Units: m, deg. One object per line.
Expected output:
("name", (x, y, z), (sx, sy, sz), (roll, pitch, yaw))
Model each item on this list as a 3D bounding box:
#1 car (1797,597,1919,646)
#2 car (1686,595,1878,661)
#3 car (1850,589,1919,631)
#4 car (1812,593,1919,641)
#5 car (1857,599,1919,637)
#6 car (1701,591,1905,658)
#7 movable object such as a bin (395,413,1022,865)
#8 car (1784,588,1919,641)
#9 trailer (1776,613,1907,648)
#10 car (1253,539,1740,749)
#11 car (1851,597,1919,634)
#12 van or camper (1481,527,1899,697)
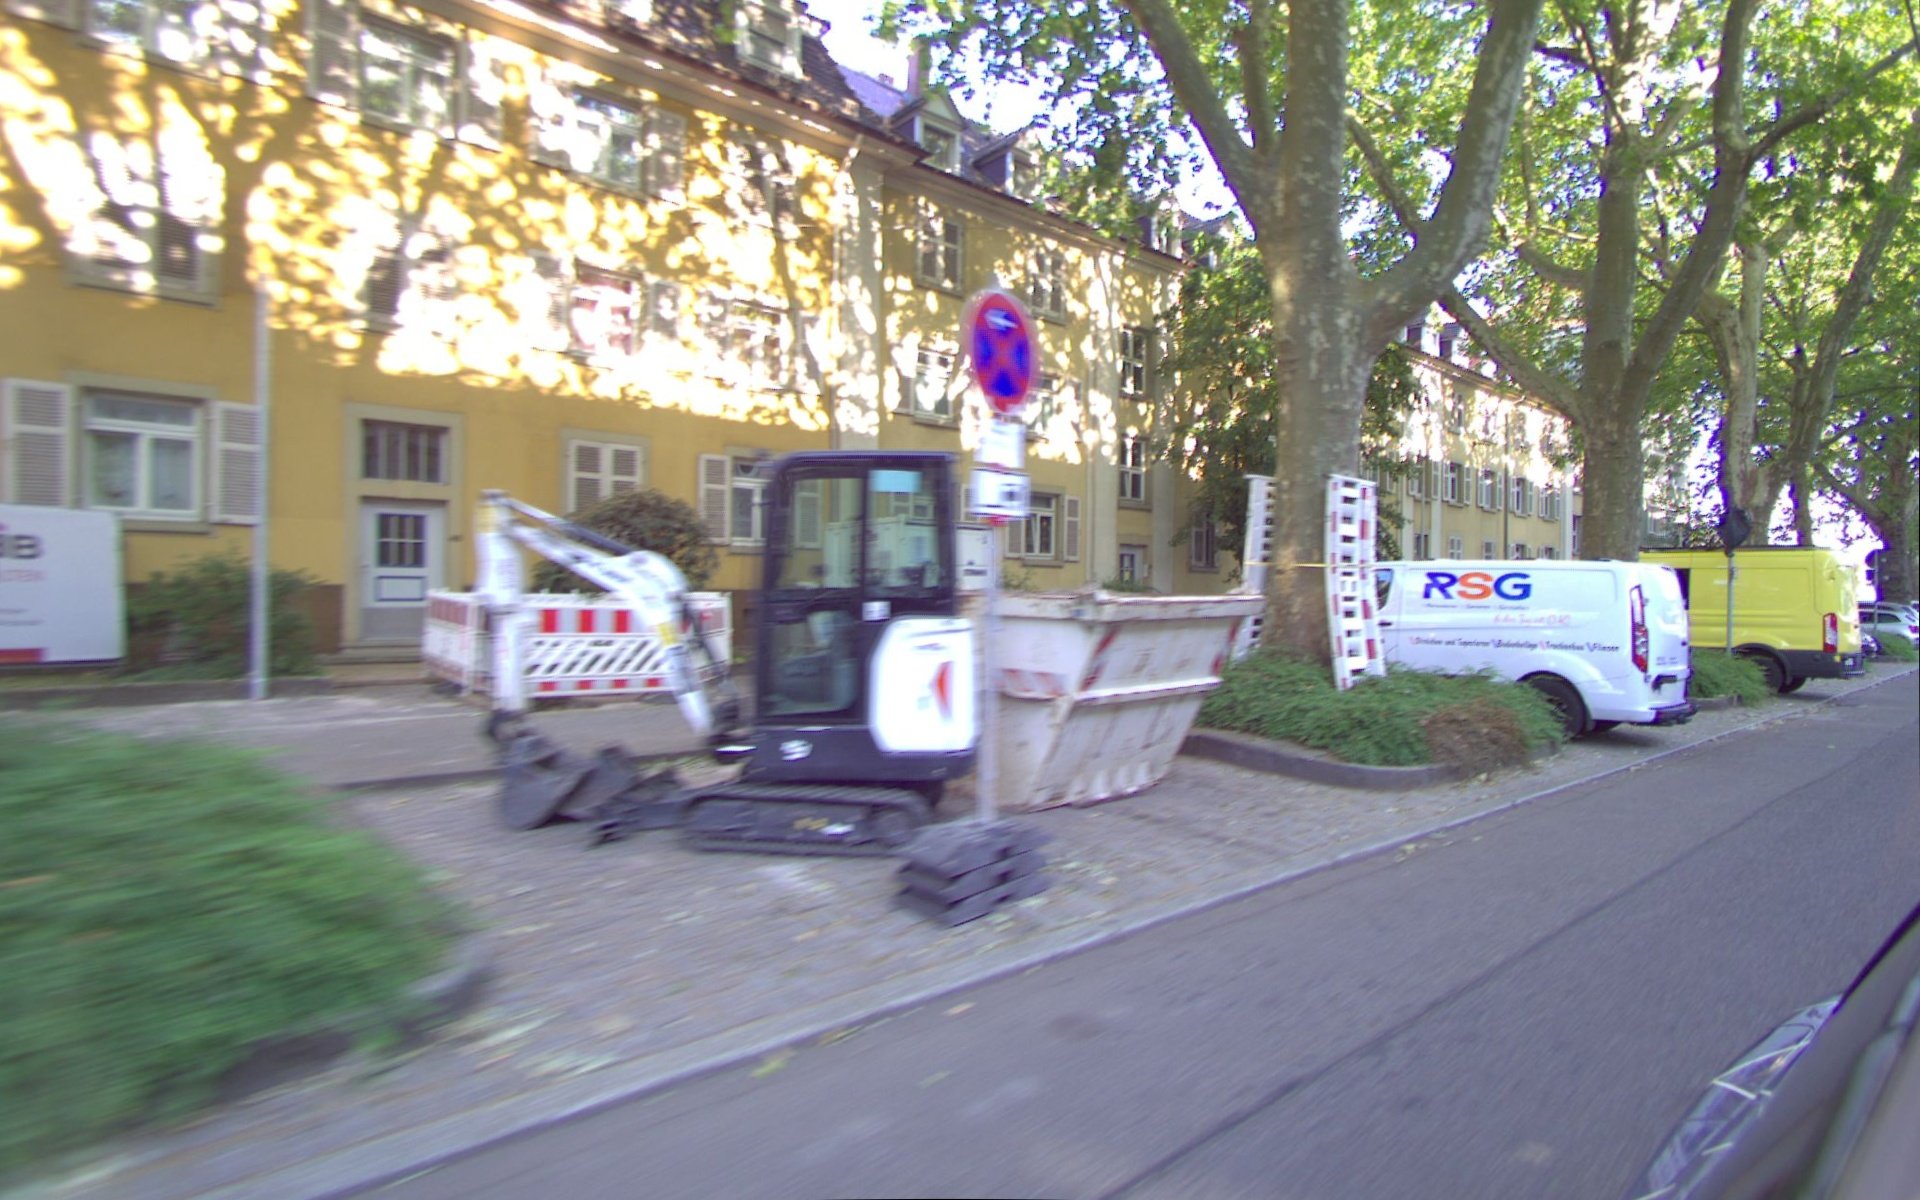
("car", (31.733, 0.732, 35.238), (1.832, 1.441, 3.661), (1, 3, -39))
("car", (21.157, 0.664, 26.130), (1.708, 1.444, 3.656), (0, 2, -44))
("car", (46.187, 0.524, 48.451), (1.881, 1.878, 5.123), (-1, 3, -41))
("car", (35.748, 0.642, 38.849), (1.875, 1.678, 4.432), (0, 2, -42))
("car", (40.732, 0.772, 42.934), (1.712, 1.516, 3.885), (0, 2, -43))
("car", (23.117, 0.606, 27.874), (1.798, 1.569, 4.084), (0, 2, -41))
("movable object such as a bin", (-1.362, 0.201, 6.072), (3.210, 2.298, 1.488), (0, 0, -7))
("car", (33.833, 0.520, 37.869), (1.806, 1.753, 4.322), (1, 1, -37))
("trailer", (29.493, 0.996, 33.918), (1.409, 0.914, 3.052), (0, 2, -34))
("car", (6.258, 0.382, 12.343), (2.027, 2.038, 4.844), (1, 1, -40))
("car", (42.630, 0.734, 44.911), (1.785, 1.542, 4.410), (1, 1, -40))
("van or camper", (13.249, 0.108, 18.846), (2.229, 2.662, 5.941), (-1, 2, -38))
